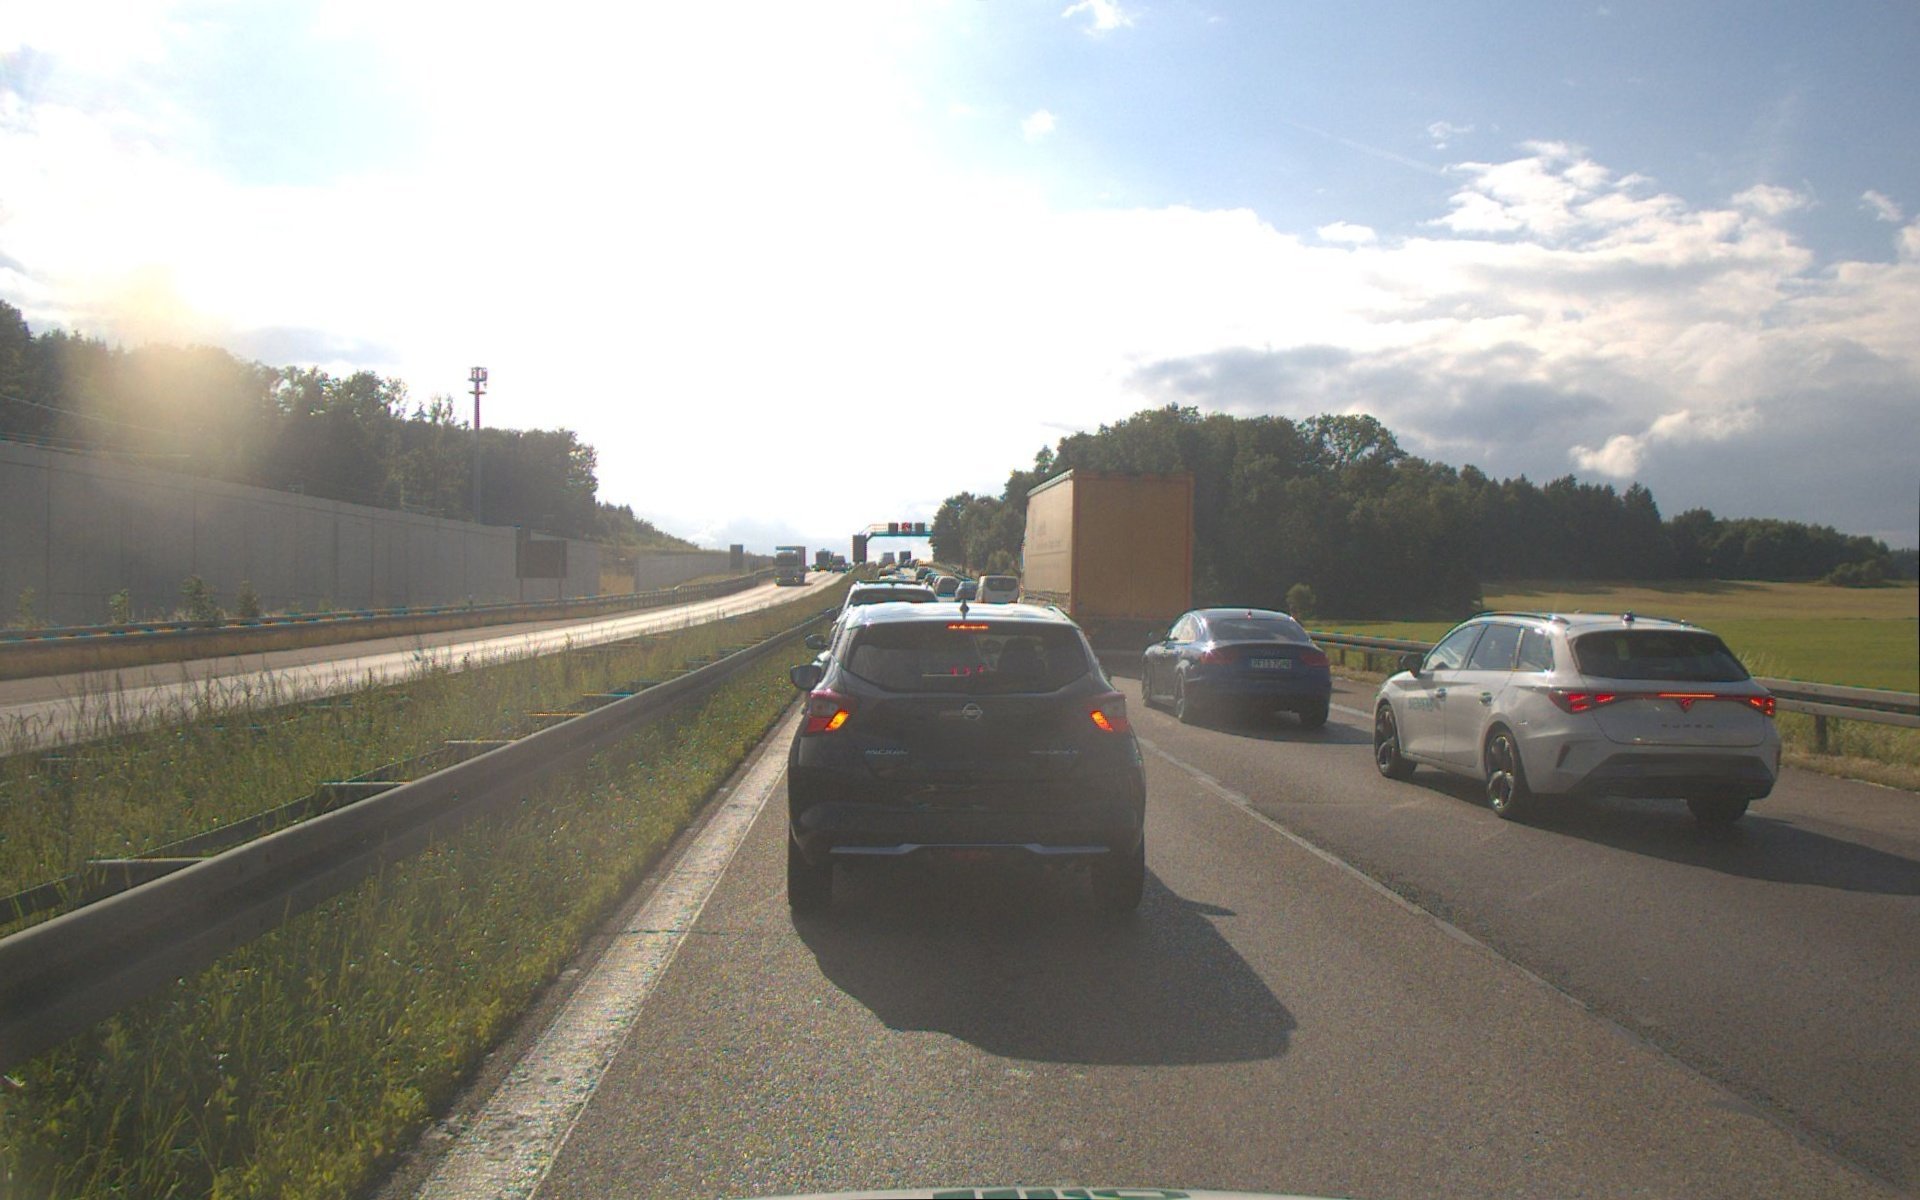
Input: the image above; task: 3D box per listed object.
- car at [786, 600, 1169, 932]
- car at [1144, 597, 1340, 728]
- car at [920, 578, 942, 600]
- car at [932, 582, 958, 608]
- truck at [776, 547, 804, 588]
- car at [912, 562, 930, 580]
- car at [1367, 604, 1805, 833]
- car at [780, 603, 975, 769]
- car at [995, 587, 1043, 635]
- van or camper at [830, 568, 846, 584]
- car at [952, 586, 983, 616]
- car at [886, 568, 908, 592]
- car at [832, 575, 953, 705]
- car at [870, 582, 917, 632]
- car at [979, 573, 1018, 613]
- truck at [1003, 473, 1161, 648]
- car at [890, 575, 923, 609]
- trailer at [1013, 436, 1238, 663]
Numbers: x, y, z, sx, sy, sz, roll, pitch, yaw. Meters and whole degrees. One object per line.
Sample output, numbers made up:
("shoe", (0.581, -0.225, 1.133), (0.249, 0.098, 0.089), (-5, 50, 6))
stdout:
("car", (0.056, 0.746, 9.017), (1.675, 1.451, 3.377), (1, 0, -1))
("car", (3.510, 0.737, 21.315), (1.712, 1.501, 4.145), (1, 0, -1))
("car", (-2.808, -1.029, 160.267), (1.954, 2.049, 3.997), (1, 0, -3))
("car", (-1.233, -0.413, 136.115), (1.954, 2.049, 3.997), (1, 0, -3))
("truck", (-18.113, -3.435, 176.791), (2.585, 4.169, 6.998), (1, 0, -3))
("car", (-4.537, -3.327, 190.740), (1.954, 2.049, 3.997), (1, 0, -3))
("car", (4.572, 0.780, 12.782), (1.588, 1.471, 4.143), (1, 0, -4))
("car", (-0.743, 0.742, 15.839), (1.640, 1.391, 3.595), (1, 0, -1))
("car", (2.246, 0.413, 63.660), (1.633, 1.785, 3.326), (1, 0, -1))
("van or camper", (-18.892, -3.731, 255.998), (2.122, 2.244, 6.257), (1, 0, -1))
("car", (0.521, 0.062, 118.056), (1.954, 2.049, 3.997), (1, 0, -3))
("car", (-5.664, -1.816, 148.427), (1.954, 2.049, 3.997), (1, 0, -3))
("car", (-0.966, 0.562, 24.483), (1.640, 1.756, 3.595), (1, 0, -1))
("car", (-2.931, 0.305, 72.017), (1.954, 2.049, 3.997), (1, 0, -3))
("car", (1.768, -0.312, 77.002), (1.633, 1.785, 3.326), (1, 0, -1))
("truck", (3.260, -1.010, 46.278), (3.511, 4.456, 6.684), (1, 0, -3))
("car", (-3.382, -0.478, 104.297), (1.954, 2.049, 3.997), (1, 0, -3))
("trailer", (3.567, -0.996, 39.897), (3.478, 4.535, 12.714), (1, 0, -3))
